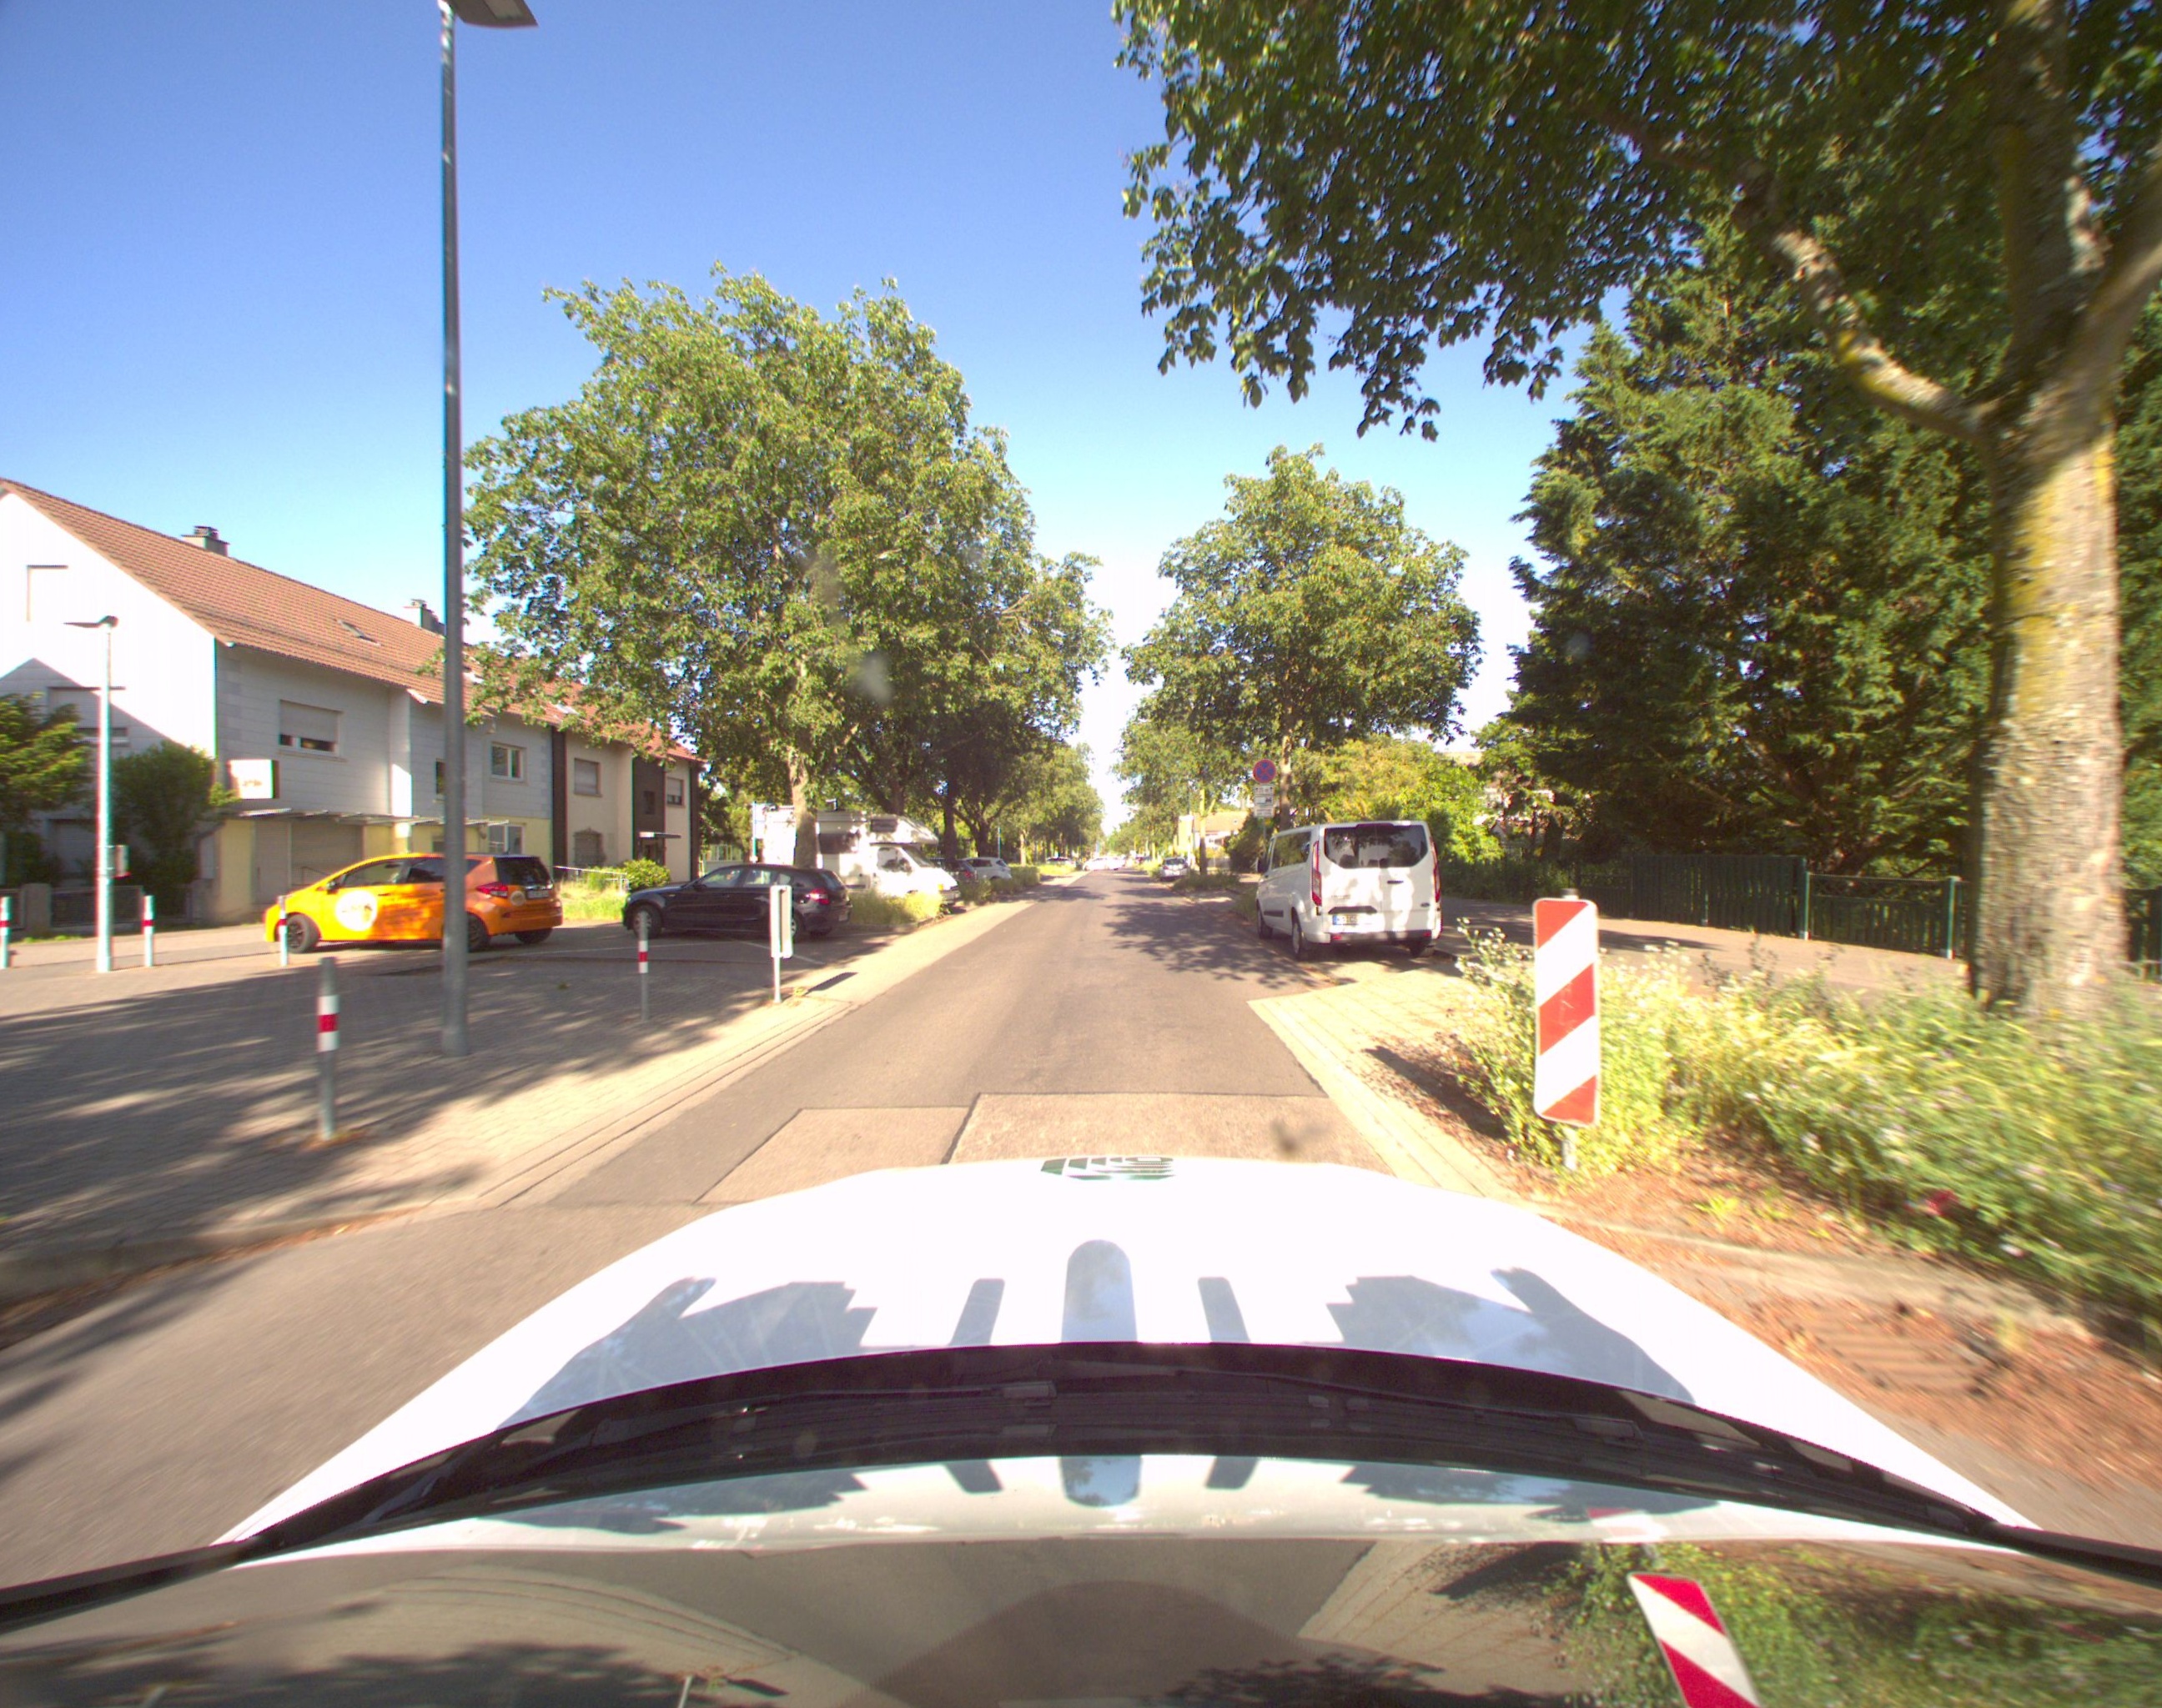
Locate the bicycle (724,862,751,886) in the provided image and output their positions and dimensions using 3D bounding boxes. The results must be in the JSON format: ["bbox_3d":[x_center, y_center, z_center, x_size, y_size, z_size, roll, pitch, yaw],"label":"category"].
[{"bbox_3d":[-18.725,1.079,44.478,0.705,1.176,4.037,-1,0,-14],"label":"bicycle"}]

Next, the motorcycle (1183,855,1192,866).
[{"bbox_3d":[12.178,0.736,93.390,0.815,1.227,2.353,-2,0,2],"label":"motorcycle"}]

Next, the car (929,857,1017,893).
[{"bbox_3d":[-5.162,0.981,39.297,3.973,1.661,1.967,0,0,1],"label":"car"}]

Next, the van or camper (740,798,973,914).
[{"bbox_3d":[-6.102,0.054,22.584,5.750,2.805,2.002,3,-1,4],"label":"van or camper"}]

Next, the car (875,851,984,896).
[{"bbox_3d":[-6.116,0.786,33.299,3.973,1.589,2.000,3,-1,1],"label":"car"}]

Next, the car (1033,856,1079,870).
[{"bbox_3d":[-2.597,0.927,85.535,4.651,1.503,2.002,0,0,3],"label":"car"}]

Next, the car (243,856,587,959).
[{"bbox_3d":[-10.742,0.832,13.414,3.978,1.542,1.868,1,-1,-3],"label":"car"}]

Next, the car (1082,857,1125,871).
[{"bbox_3d":[2.399,1.069,86.602,4.170,1.455,2.013,0,0,37],"label":"car"}]

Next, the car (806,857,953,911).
[{"bbox_3d":[-6.210,0.916,25.455,3.973,1.458,2.000,3,-1,0],"label":"car"}]

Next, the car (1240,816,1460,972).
[{"bbox_3d":[4.137,0.571,13.583,1.986,2.014,5.197,3,-1,1],"label":"car"}]

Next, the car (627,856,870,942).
[{"bbox_3d":[-6.341,0.824,15.757,3.967,1.450,1.642,2,-1,5],"label":"car"}]

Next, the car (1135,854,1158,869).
[{"bbox_3d":[7.299,0.851,91.262,1.989,1.622,4.376,3,-1,-4],"label":"car"}]

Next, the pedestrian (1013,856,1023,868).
[{"bbox_3d":[-10.010,1.319,129.527,1.227,1.827,1.543,1,-1,-14],"label":"pedestrian"}]

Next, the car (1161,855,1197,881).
[{"bbox_3d":[6.166,0.852,50.937,1.982,1.510,4.010,-2,-1,9],"label":"car"}]

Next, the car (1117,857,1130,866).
[{"bbox_3d":[7.322,1.359,141.305,1.987,1.508,3.657,3,-1,0],"label":"car"}]
